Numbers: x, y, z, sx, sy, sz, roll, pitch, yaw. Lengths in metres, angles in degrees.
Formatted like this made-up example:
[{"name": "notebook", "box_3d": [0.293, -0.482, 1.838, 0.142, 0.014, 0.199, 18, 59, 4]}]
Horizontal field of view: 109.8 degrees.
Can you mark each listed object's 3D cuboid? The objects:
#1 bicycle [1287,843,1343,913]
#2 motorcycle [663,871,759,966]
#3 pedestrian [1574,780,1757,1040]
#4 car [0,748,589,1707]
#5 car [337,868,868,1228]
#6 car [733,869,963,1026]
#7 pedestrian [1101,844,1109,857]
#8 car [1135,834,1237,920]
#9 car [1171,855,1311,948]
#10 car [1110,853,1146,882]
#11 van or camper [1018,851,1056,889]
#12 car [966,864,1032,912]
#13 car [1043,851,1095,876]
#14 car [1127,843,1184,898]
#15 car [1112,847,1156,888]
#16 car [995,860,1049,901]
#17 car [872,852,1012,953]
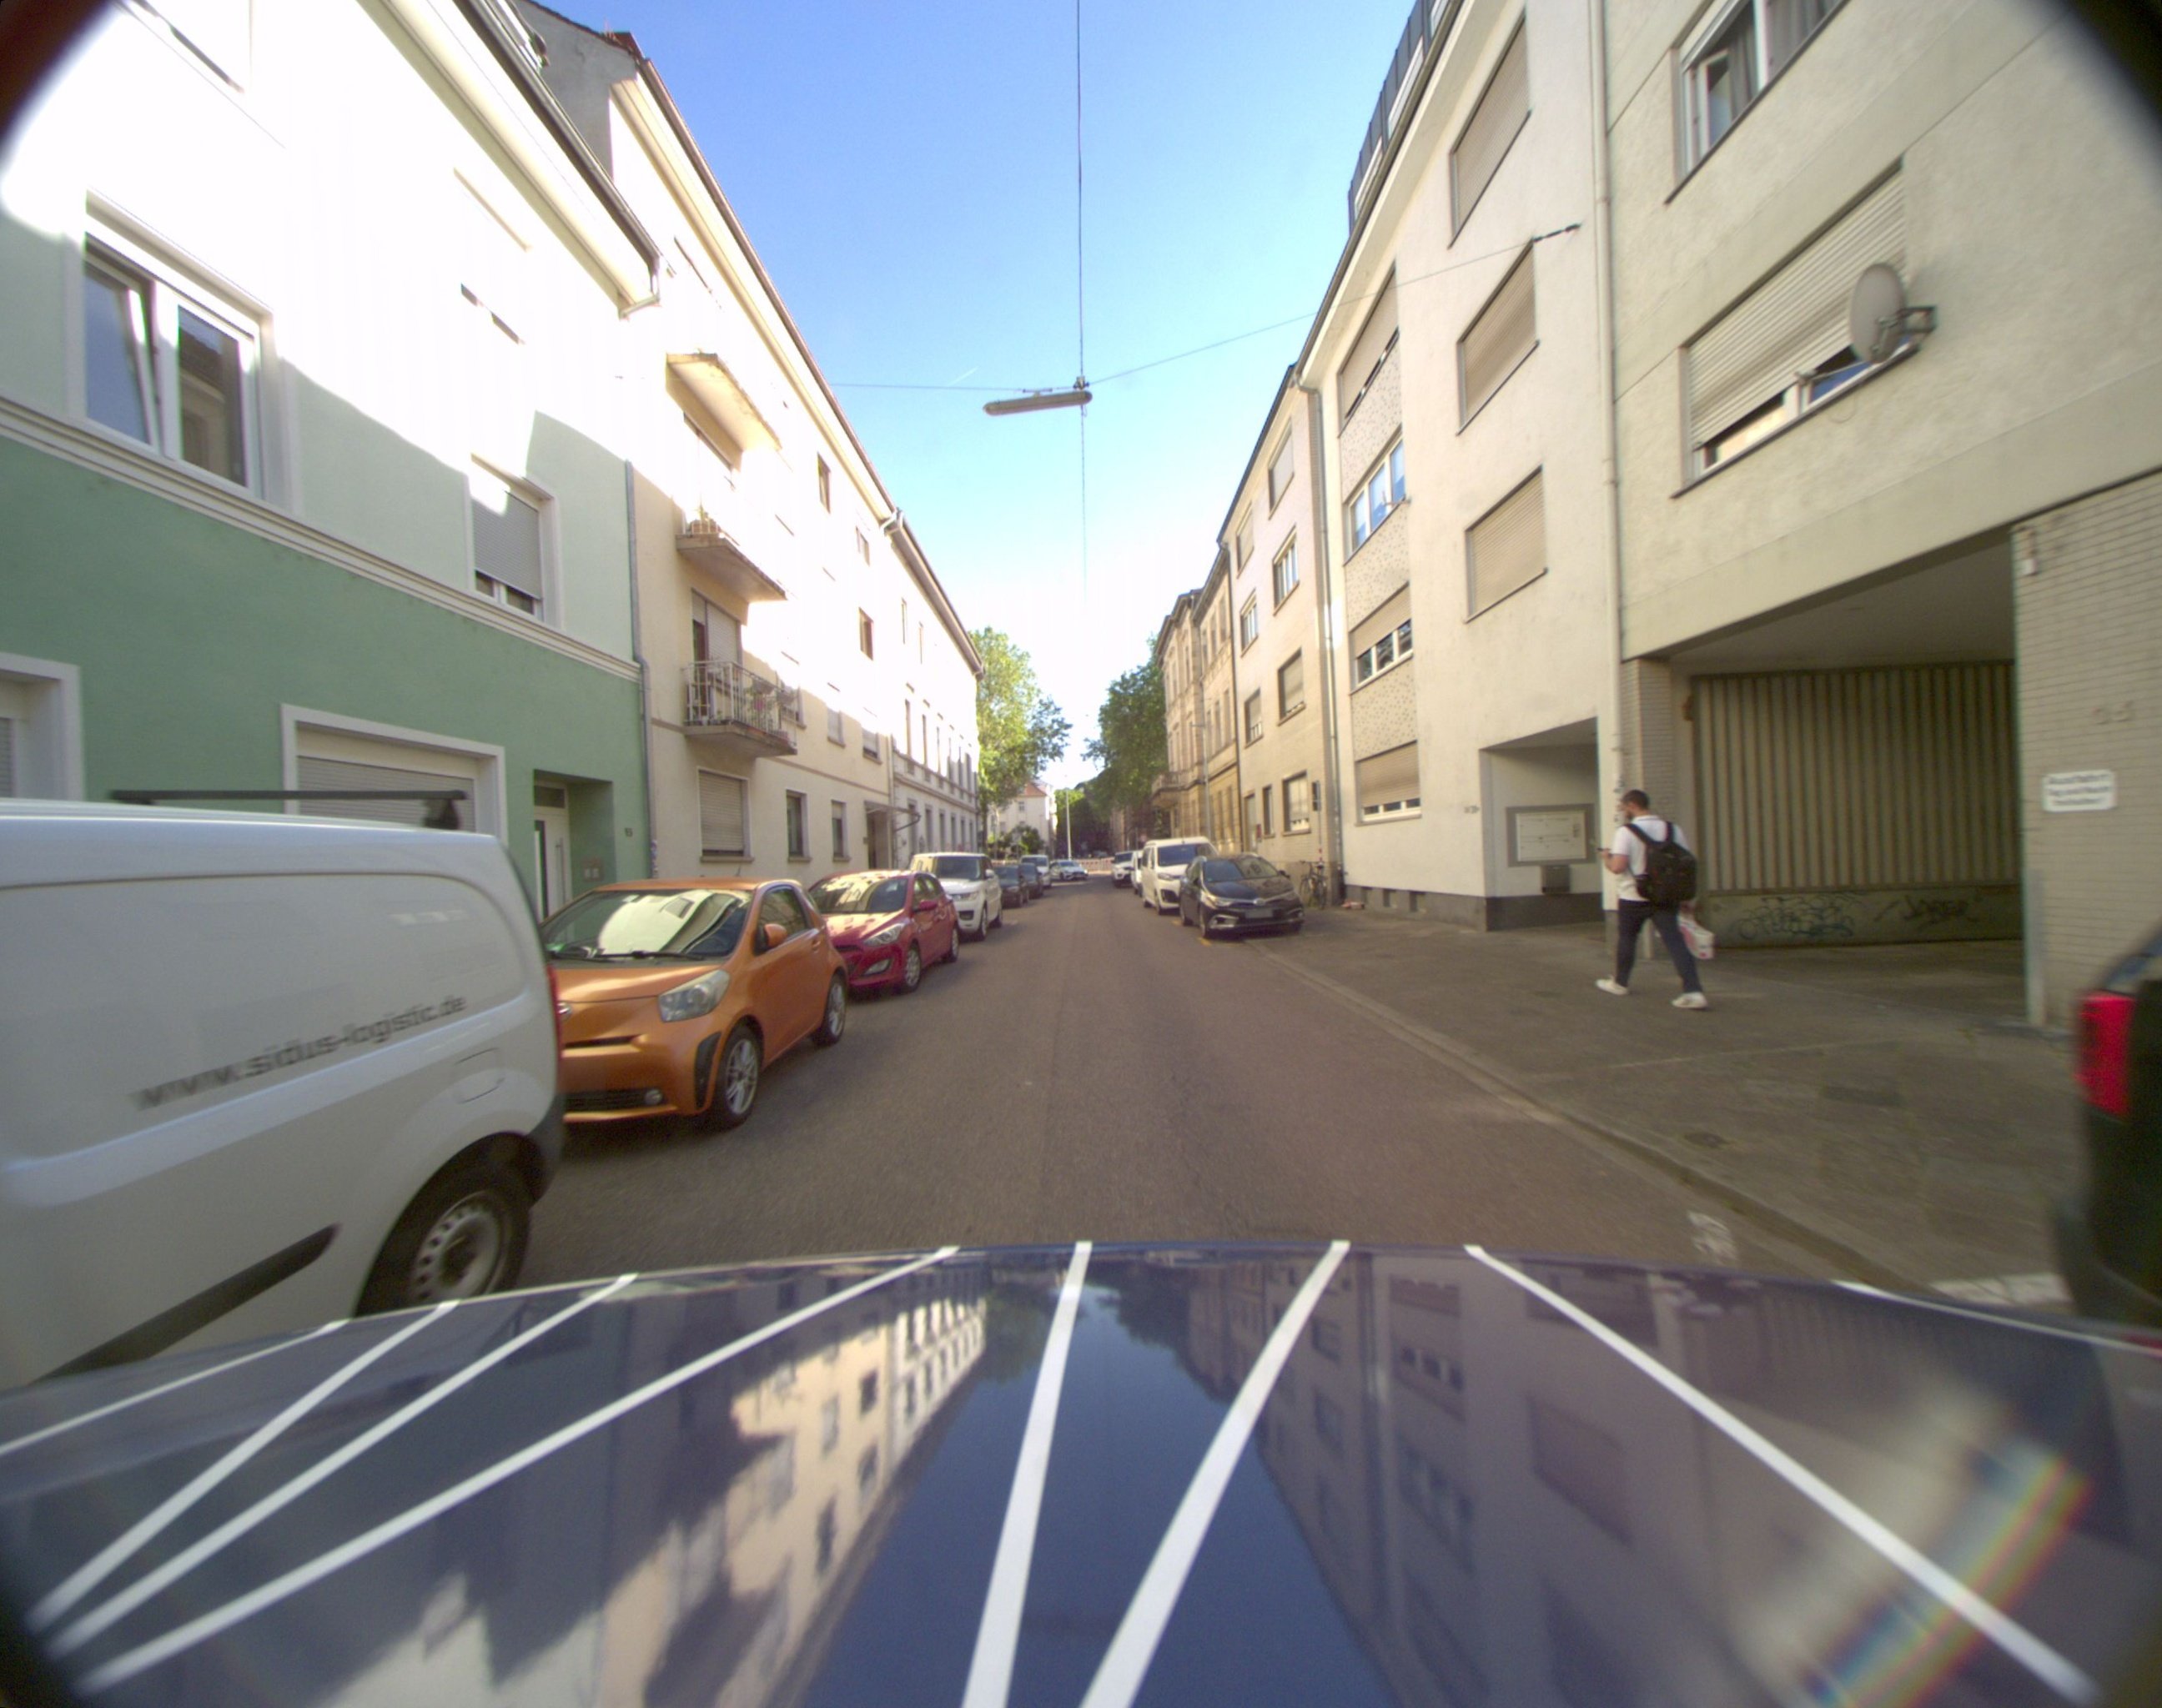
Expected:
[{"name": "bicycle", "box_3d": [5.402, 0.522, 17.644, 0.558, 1.500, 1.800, -4, 0, -3]}, {"name": "motorcycle", "box_3d": [-5.440, 0.916, 11.267, 0.658, 1.271, 1.503, 0, 0, 0]}, {"name": "pedestrian", "box_3d": [4.671, 0.426, 6.127, 0.808, 1.923, 0.691, -5, 1, 1]}, {"name": "car", "box_3d": [-2.893, 0.814, 0.856, 1.786, 1.950, 4.335, -2, 1, 0]}, {"name": "car", "box_3d": [-2.886, 0.999, 5.628, 1.584, 1.622, 3.681, -4, 0, -2]}, {"name": "car", "box_3d": [-2.810, 1.044, 10.149, 1.746, 1.559, 4.032, -2, 0, 0]}, {"name": "pedestrian", "box_3d": [3.385, -0.491, 105.545, 0.761, 1.651, 0.826, -2, 0, -27]}, {"name": "car", "box_3d": [2.737, 0.573, 20.865, 1.899, 1.946, 4.781, -4, 0, -1]}, {"name": "car", "box_3d": [2.910, 0.795, 14.766, 1.711, 1.442, 4.301, -3, 0, -1]}, {"name": "car", "box_3d": [2.883, 0.825, 47.383, 1.872, 1.552, 3.941, -4, 1, -1]}, {"name": "van or camper", "box_3d": [-2.468, 0.895, 43.875, 1.899, 2.002, 5.031, -2, 0, -1]}, {"name": "car", "box_3d": [-2.814, 1.130, 26.793, 1.751, 1.440, 3.870, -4, 0, 0]}, {"name": "car", "box_3d": [-0.892, 0.709, 54.475, 2.014, 1.694, 4.494, -2, 0, -25]}, {"name": "car", "box_3d": [2.876, 0.610, 30.150, 1.749, 1.865, 4.090, -6, 0, 0]}, {"name": "car", "box_3d": [2.777, 0.690, 40.861, 2.027, 2.002, 4.543, -2, 0, 1]}, {"name": "car", "box_3d": [-2.453, 1.073, 32.657, 1.819, 1.510, 4.728, -4, 0, 0]}, {"name": "car", "box_3d": [-2.759, 0.906, 16.335, 2.010, 1.773, 4.939, -2, 0, 1]}]
